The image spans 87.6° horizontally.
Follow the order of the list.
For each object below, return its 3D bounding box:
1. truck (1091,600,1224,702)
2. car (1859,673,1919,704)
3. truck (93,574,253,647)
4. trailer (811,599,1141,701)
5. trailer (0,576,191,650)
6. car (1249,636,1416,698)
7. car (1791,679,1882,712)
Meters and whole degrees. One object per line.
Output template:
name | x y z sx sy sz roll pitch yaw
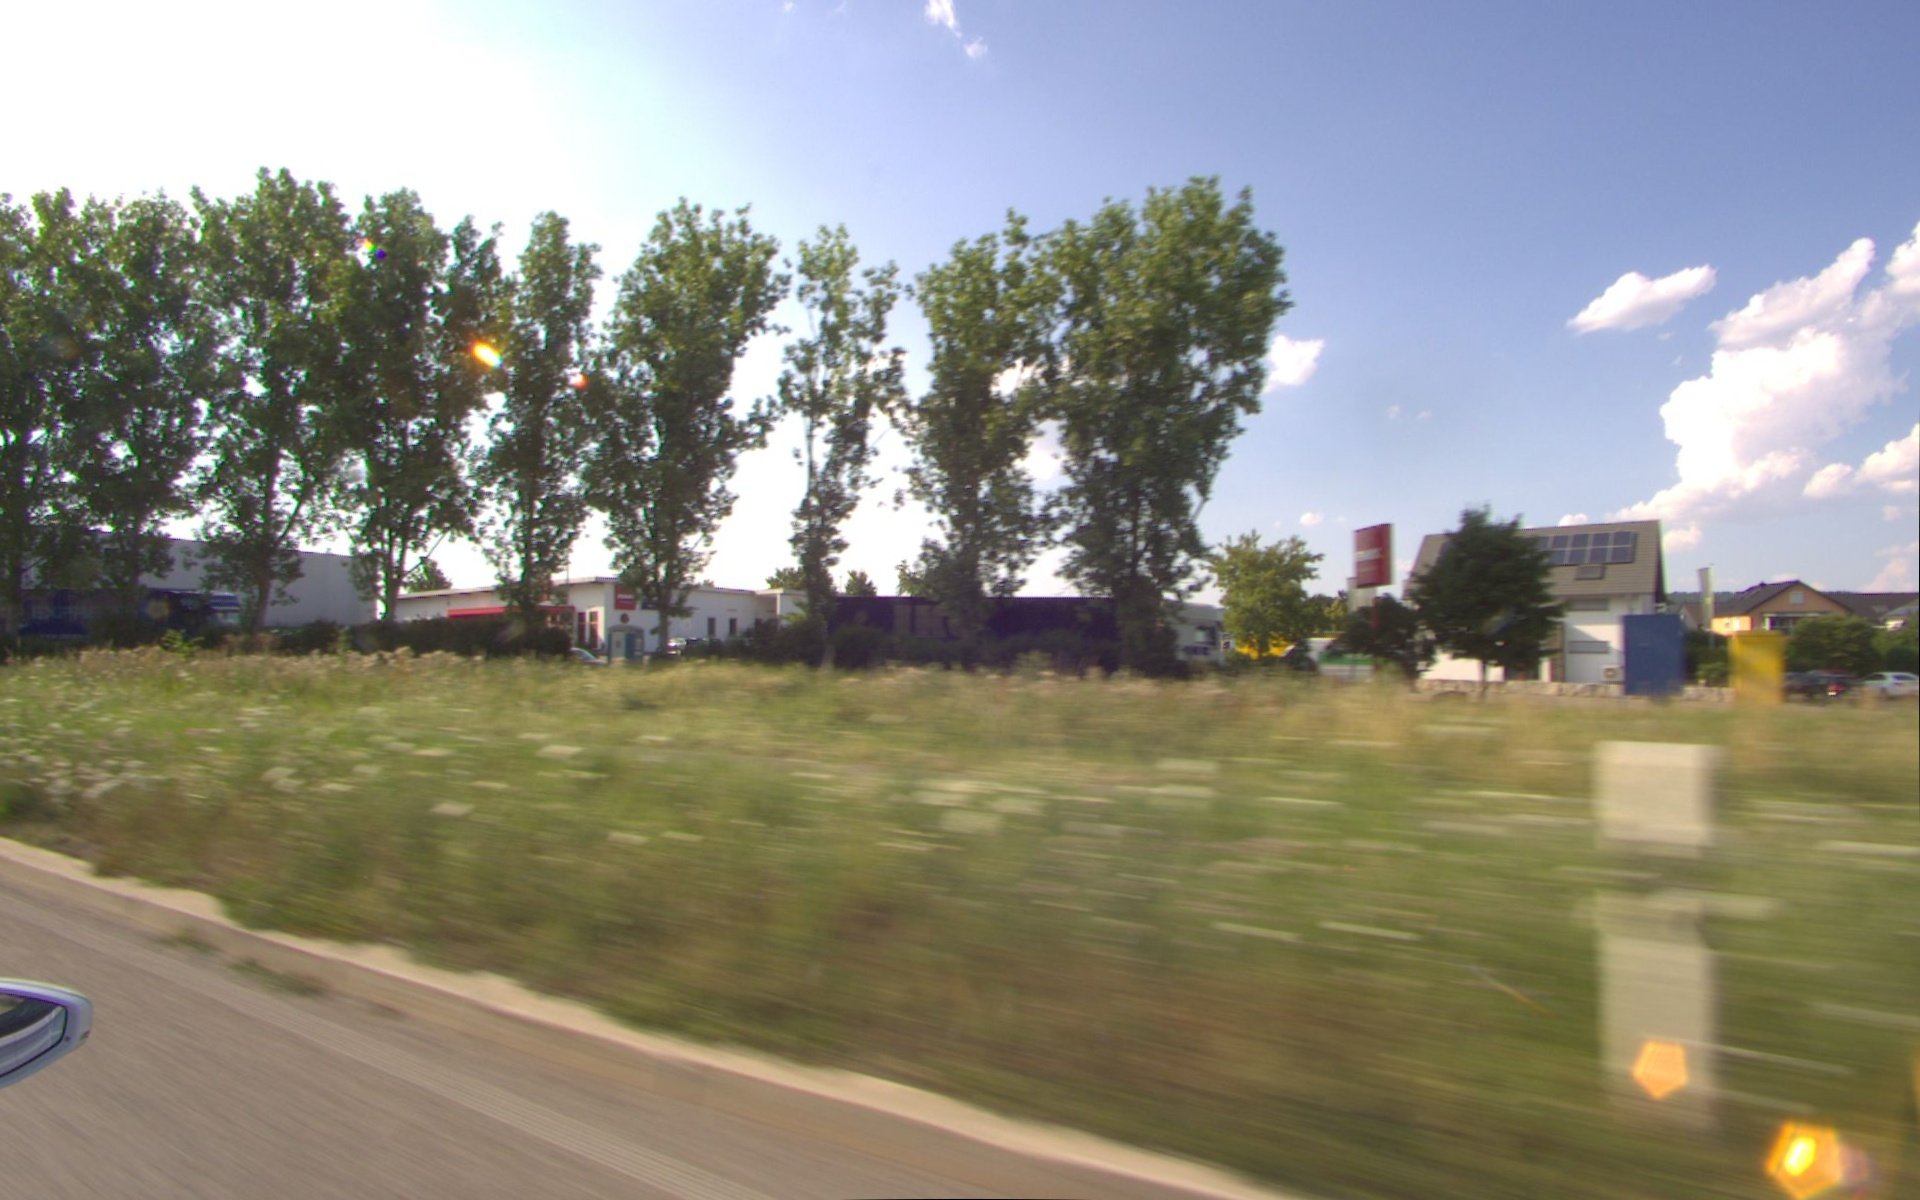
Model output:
truck | 7.918 2.108 40.592 5.019 3.961 2.254 1 -4 5
car | 50.573 4.768 54.009 1.562 1.594 3.556 0 -5 14
truck | -37.144 0.547 47.383 5.599 3.198 2.632 -1 -5 6
trailer | 0.676 2.076 41.664 13.459 3.961 2.253 0 -4 9
trailer | -44.184 0.701 48.236 13.014 3.178 2.696 -1 -5 7
car | 16.245 2.929 43.847 6.705 2.548 2.233 -1 -5 23
car | 40.156 4.377 45.996 1.817 1.410 3.597 -1 -5 18
